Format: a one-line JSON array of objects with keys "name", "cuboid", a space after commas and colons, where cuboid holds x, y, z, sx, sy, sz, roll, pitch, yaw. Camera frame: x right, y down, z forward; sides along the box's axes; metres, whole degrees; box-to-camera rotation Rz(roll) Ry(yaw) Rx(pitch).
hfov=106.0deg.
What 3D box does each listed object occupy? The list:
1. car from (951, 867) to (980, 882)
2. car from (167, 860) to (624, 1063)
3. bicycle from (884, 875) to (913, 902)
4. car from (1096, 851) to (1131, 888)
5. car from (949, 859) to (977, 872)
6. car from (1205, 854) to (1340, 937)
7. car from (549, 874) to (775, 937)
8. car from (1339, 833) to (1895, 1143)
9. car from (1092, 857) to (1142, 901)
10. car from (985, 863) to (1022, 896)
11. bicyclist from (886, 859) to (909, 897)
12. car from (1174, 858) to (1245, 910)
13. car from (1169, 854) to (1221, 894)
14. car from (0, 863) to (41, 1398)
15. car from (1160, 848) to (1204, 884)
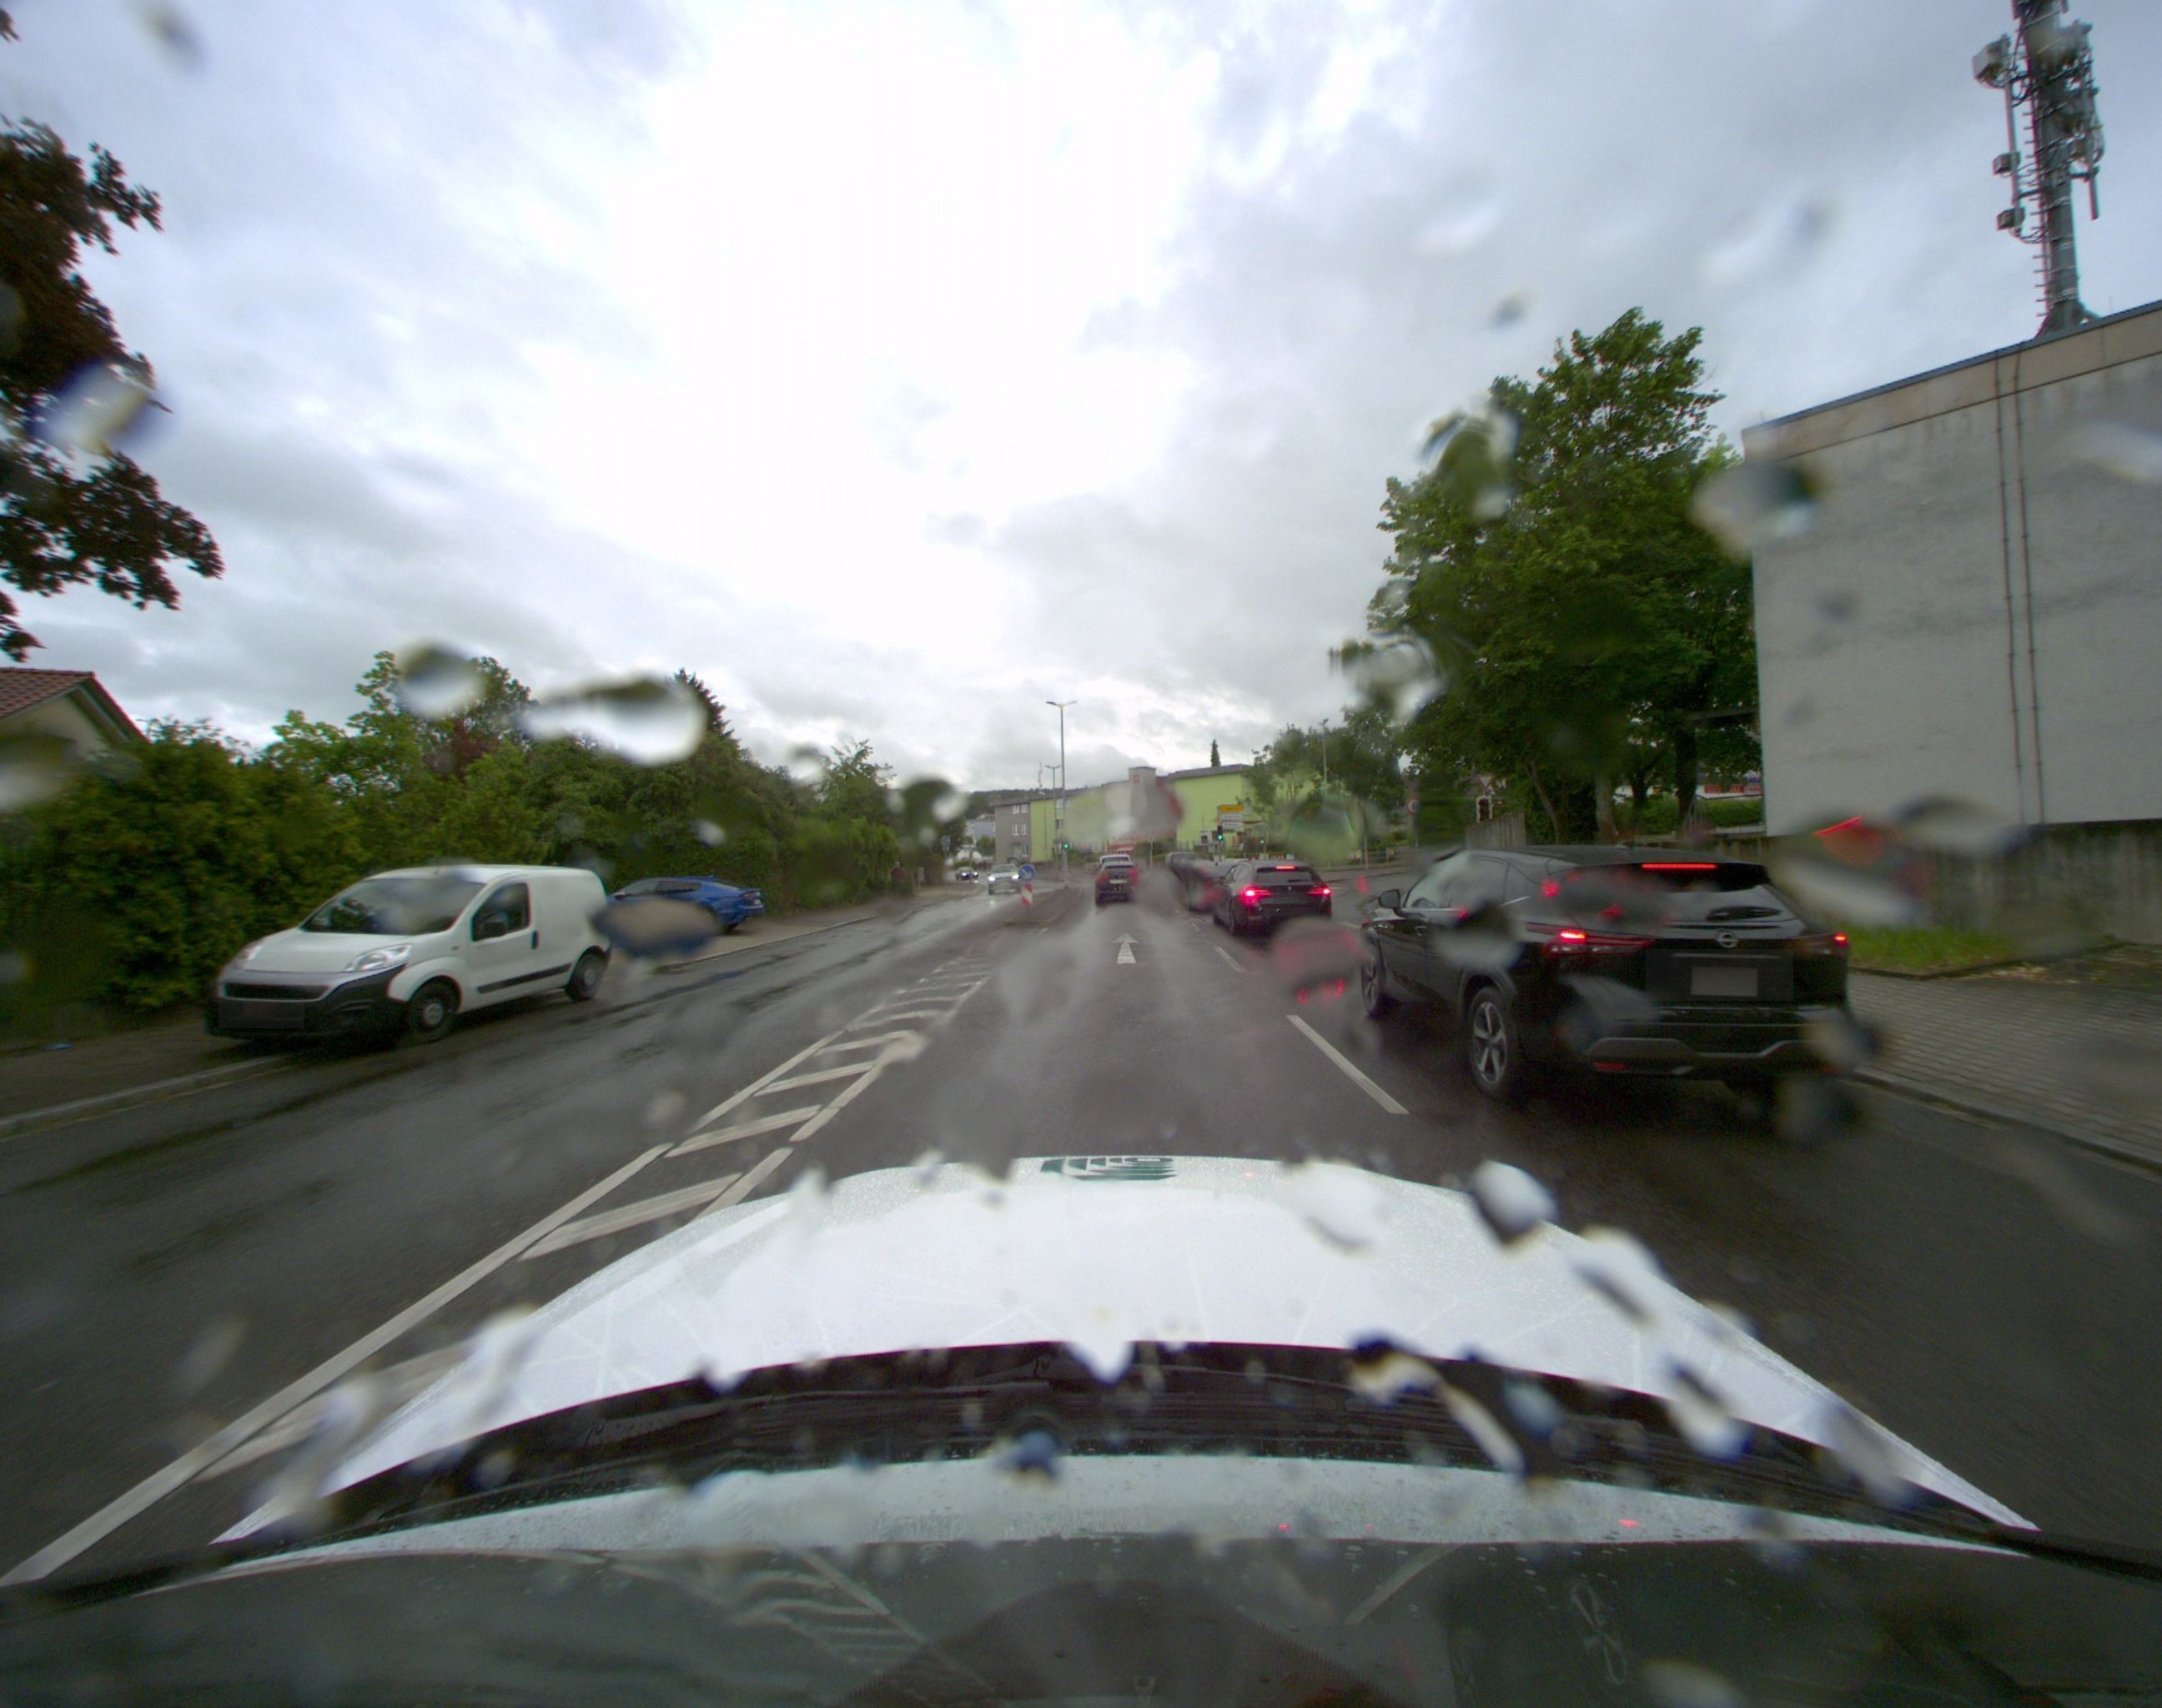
[{"name": "car", "cuboid": [-13.423, 2.352, 94.471, 1.805, 1.489, 4.111, -4, -1, -32]}, {"name": "car", "cuboid": [-7.130, 0.960, 9.140, 1.695, 1.708, 3.979, 1, 0, 0]}, {"name": "bicycle", "cuboid": [-7.957, 1.489, 35.554, 0.744, 1.086, 1.989, -1, -1, 1]}, {"name": "car", "cuboid": [1.688, 0.783, 43.160, 1.711, 1.844, 4.087, -1, 0, 1]}, {"name": "car", "cuboid": [-19.371, 1.827, 133.637, 4.403, 1.772, 1.990, -4, -1, -15]}, {"name": "car", "cuboid": [3.917, 0.772, 17.520, 1.898, 1.458, 4.780, -2, 0, 2]}, {"name": "car", "cuboid": [-10.005, 1.210, 19.733, 4.474, 1.362, 1.803, 0, 1, -5]}, {"name": "car", "cuboid": [3.476, 0.662, 6.398, 1.782, 1.603, 4.258, -1, 1, 4]}, {"name": "car", "cuboid": [1.336, 0.907, 31.487, 1.677, 1.506, 3.772, -3, 0, -1]}, {"name": "car", "cuboid": [-4.754, 1.513, 49.776, 2.038, 1.716, 4.472, -3, 0, -6]}, {"name": "bicyclist", "cuboid": [-7.972, 1.035, 35.435, 0.762, 1.612, 0.868, -1, -1, 1]}, {"name": "car", "cuboid": [3.922, 0.868, 25.507, 1.699, 1.427, 4.512, -2, 0, 3]}, {"name": "car", "cuboid": [4.657, 0.778, 33.817, 1.841, 1.486, 4.092, -3, 0, 4]}, {"name": "car", "cuboid": [-4.074, 0.888, 0.456, 1.629, 1.579, 4.057, -5, 0, 0]}, {"name": "car", "cuboid": [5.086, 0.579, 41.353, 1.776, 1.734, 4.088, -1, 0, 1]}]
